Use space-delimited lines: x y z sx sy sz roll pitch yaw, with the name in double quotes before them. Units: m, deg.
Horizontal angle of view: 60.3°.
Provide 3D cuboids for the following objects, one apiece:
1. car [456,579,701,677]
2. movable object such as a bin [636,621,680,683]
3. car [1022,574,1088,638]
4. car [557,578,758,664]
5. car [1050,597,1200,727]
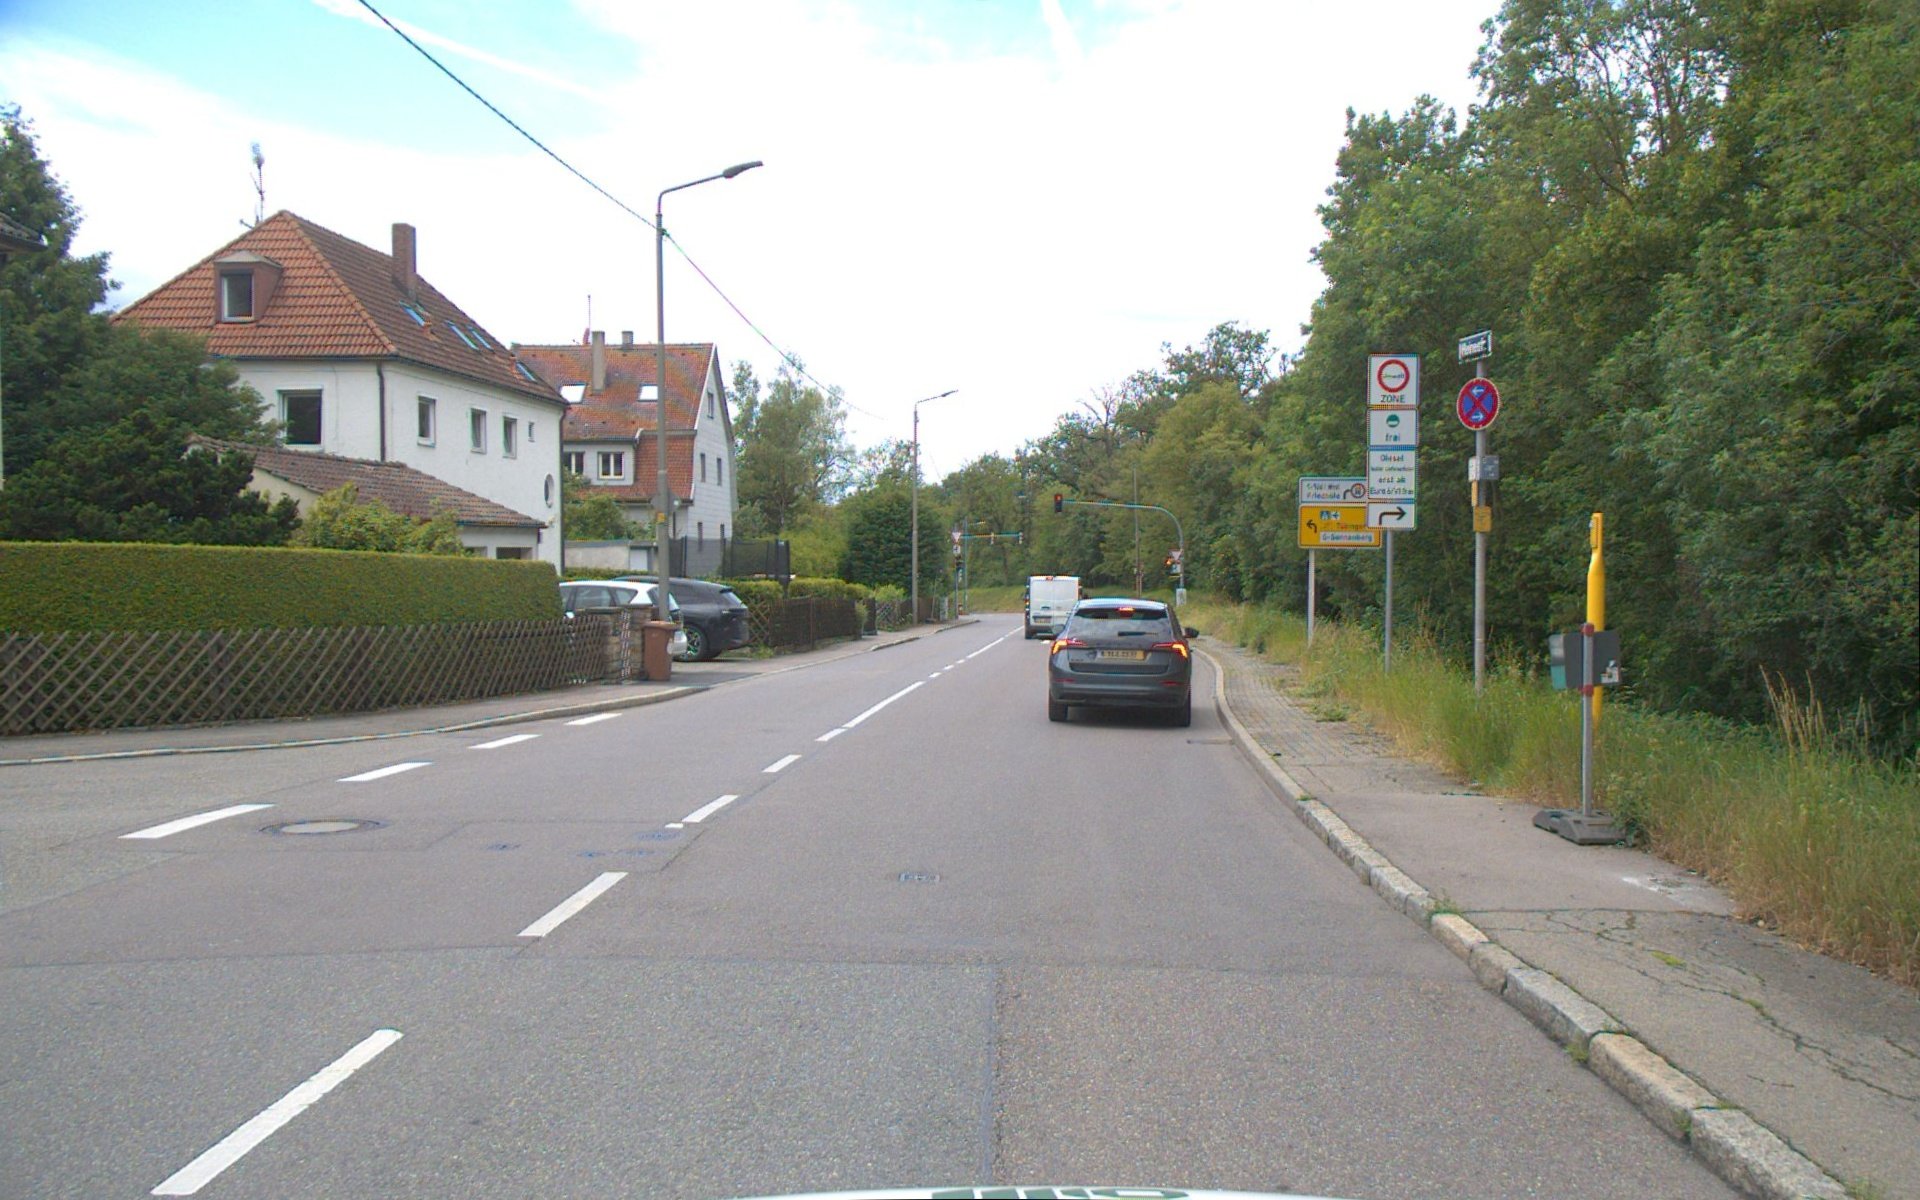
"car" -6.723 0.476 29.485 3.906 1.646 2.000 0 0 -1
"movable object such as a bin" -4.778 0.821 26.214 0.587 0.967 0.579 0 0 0
"car" 3.042 0.195 53.459 2.028 1.956 4.924 0 0 2
"car" -6.269 0.415 34.632 3.908 1.736 1.915 0 0 -4
"car" 2.059 0.703 20.974 1.691 1.464 4.326 0 0 5
